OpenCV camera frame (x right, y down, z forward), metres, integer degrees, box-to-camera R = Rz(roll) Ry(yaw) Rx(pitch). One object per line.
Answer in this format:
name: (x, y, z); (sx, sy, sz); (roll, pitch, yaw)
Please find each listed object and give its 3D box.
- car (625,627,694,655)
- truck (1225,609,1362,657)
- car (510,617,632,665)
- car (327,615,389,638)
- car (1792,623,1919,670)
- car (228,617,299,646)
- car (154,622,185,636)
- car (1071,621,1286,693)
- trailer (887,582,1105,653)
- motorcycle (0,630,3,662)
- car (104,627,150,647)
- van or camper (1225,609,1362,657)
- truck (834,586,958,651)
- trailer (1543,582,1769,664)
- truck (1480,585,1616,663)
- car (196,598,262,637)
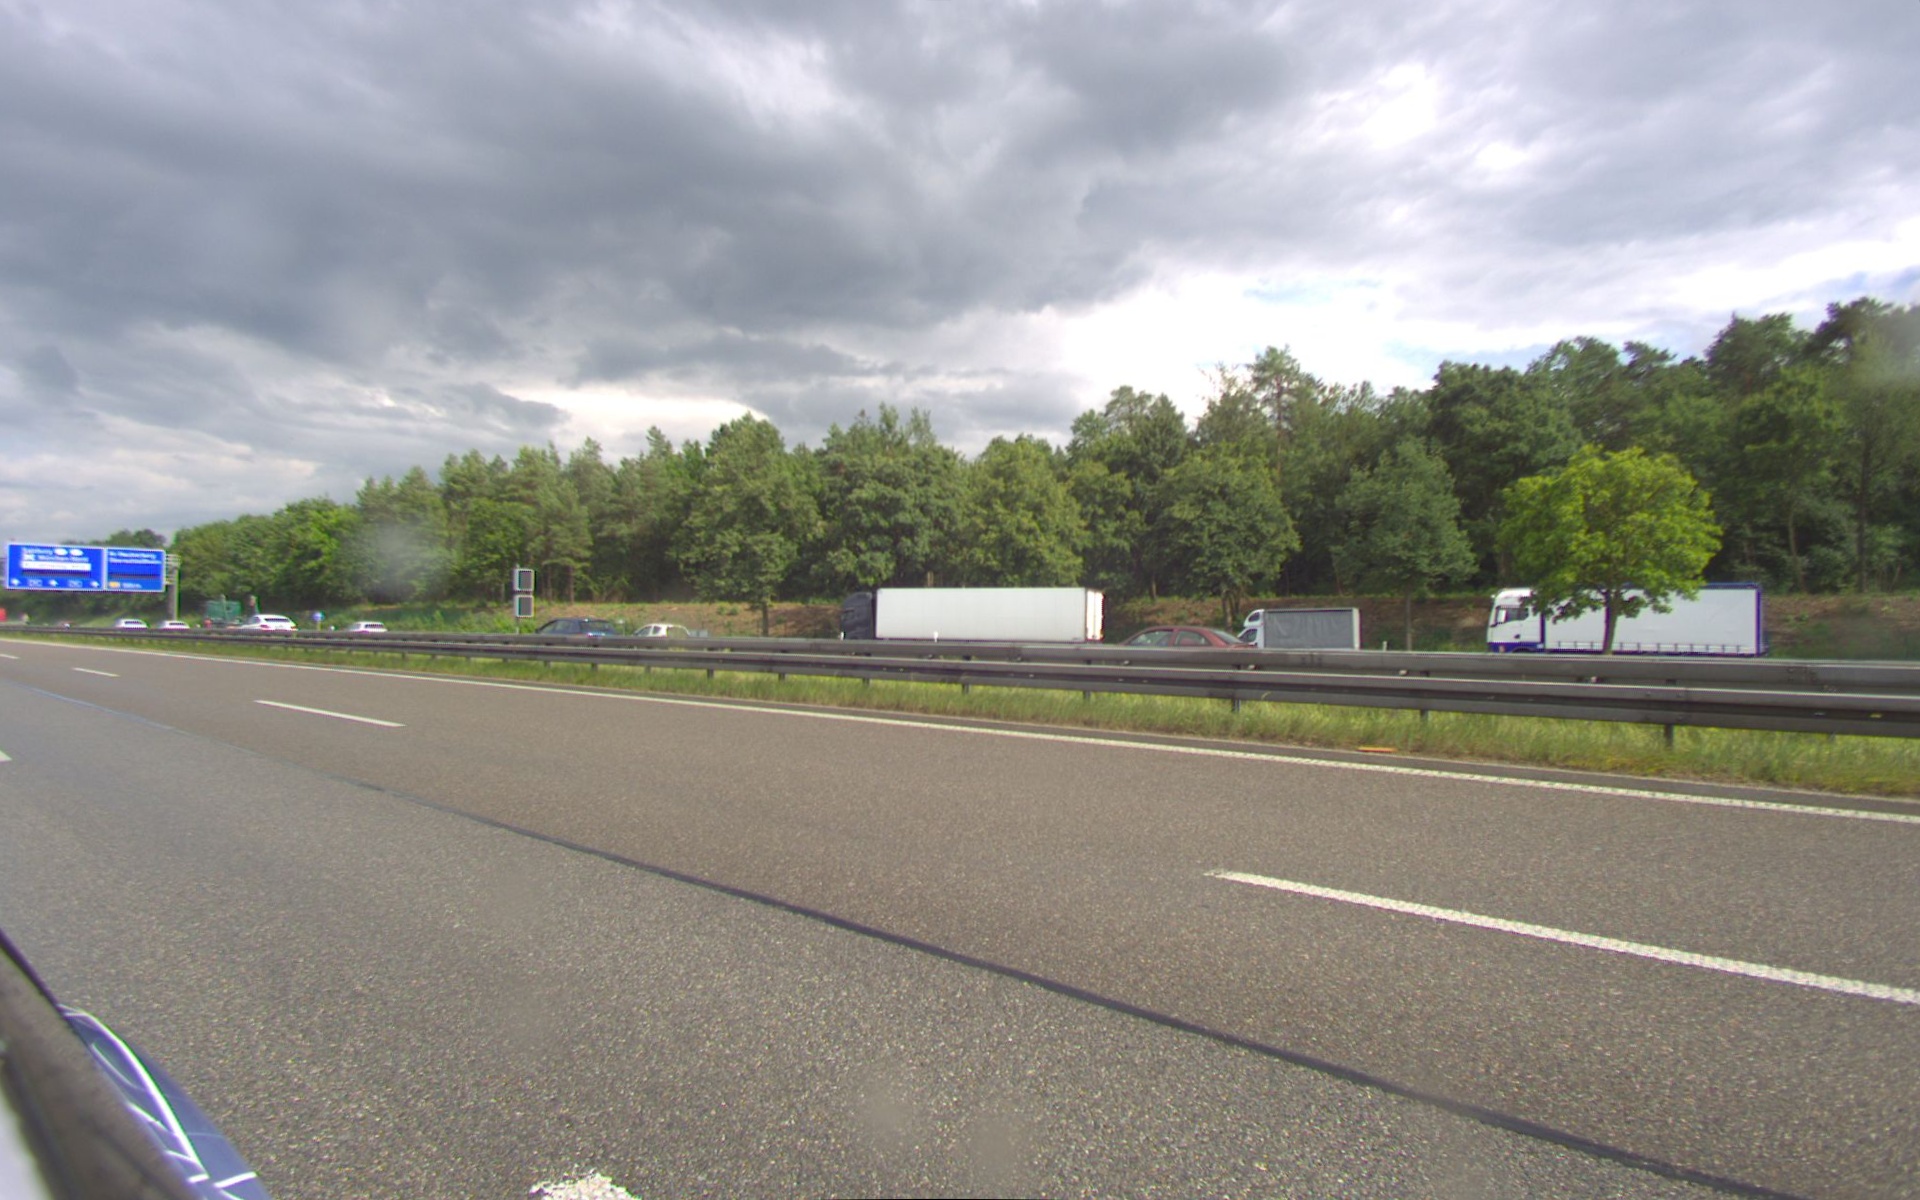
car: (-13.036, 1.751, 43.803); (3.113, 1.065, 1.430); (-1, 0, 41)
truck: (16.775, 1.633, 51.045); (6.290, 2.282, 2.105); (-1, 0, 29)
car: (-12.550, 1.264, 32.558); (4.432, 1.403, 1.811); (-1, 0, 41)
car: (-38.999, 1.690, 65.519); (5.156, 1.403, 1.953); (-1, 0, 41)
car: (41.777, 2.076, 45.822); (6.115, 2.029, 1.978); (-1, 0, 33)
car: (-37.504, 1.652, 54.433); (5.418, 1.403, 1.879); (-1, 0, 41)
car: (-64.108, 2.342, 82.112); (3.113, 1.065, 1.430); (-1, 0, 41)
car: (4.857, 1.205, 22.842); (4.432, 1.403, 1.811); (-1, 0, 41)
trailer: (1.910, 1.032, 58.509); (12.509, 3.767, 3.184); (-1, -2, 28)
motorcycle: (-39.955, 1.862, 41.058); (3.190, 1.235, 1.173); (-1, 0, 38)
car: (-62.992, 2.765, 76.509); (5.418, 1.403, 1.879); (-1, 0, 41)
van or camper: (16.796, 1.633, 51.033); (6.295, 2.282, 2.105); (-1, 0, 29)
truck: (-3.912, 1.086, 61.525); (6.882, 3.732, 3.188); (-1, 0, 27)
trailer: (29.452, 0.961, 43.296); (7.715, 3.257, 2.560); (-1, -1, 32)
truck: (26.180, 1.013, 45.225); (5.068, 3.292, 2.635); (-1, 0, 31)
car: (-61.152, 1.434, 84.638); (7.340, 3.133, 2.913); (-1, 0, 41)
